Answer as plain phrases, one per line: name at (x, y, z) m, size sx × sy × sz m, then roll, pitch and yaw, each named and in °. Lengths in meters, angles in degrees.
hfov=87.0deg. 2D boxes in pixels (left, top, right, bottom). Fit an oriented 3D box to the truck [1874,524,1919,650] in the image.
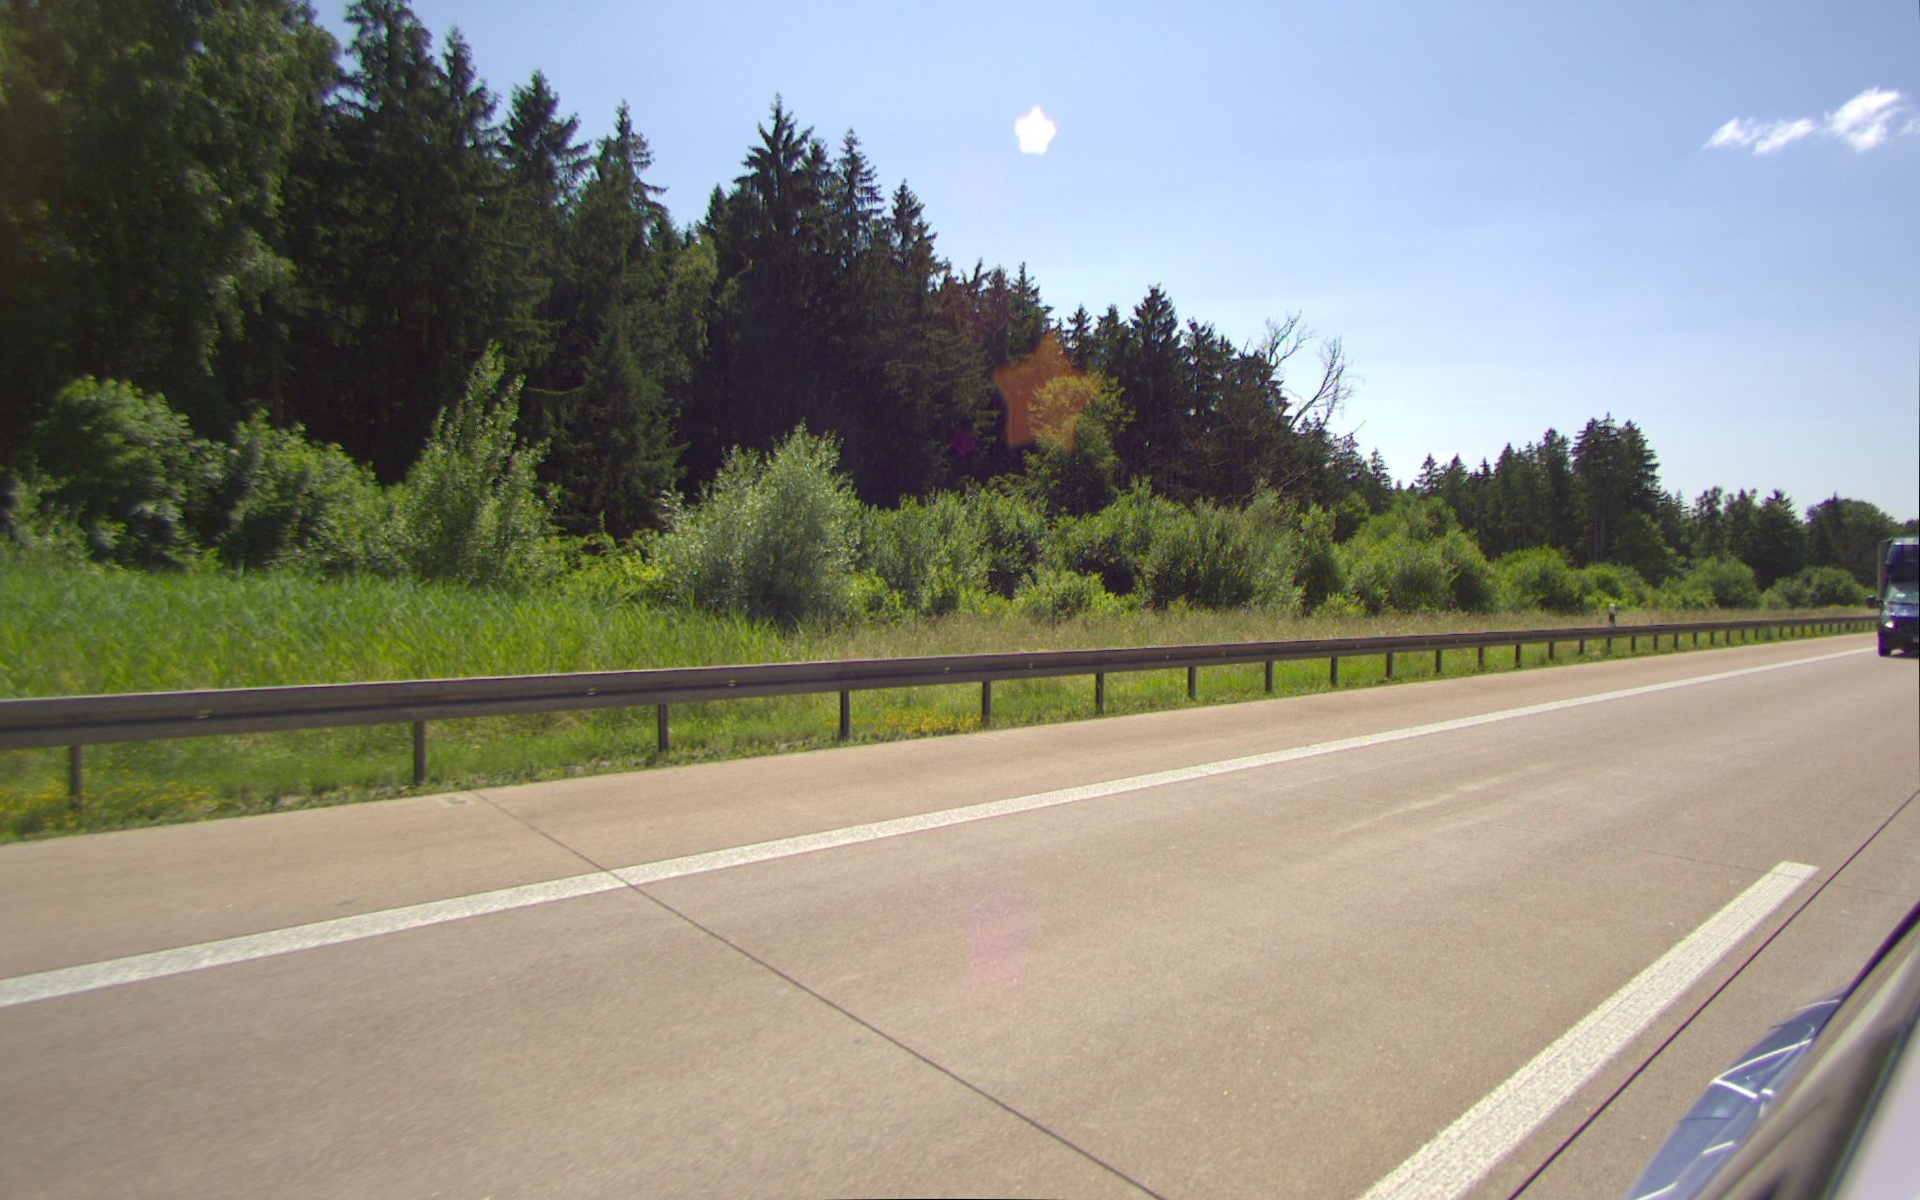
truck at (27.927, -0.328, 28.313) m, size 7.646 × 3.259 × 2.507 m, roll 0°, pitch 1°, yaw -40°
